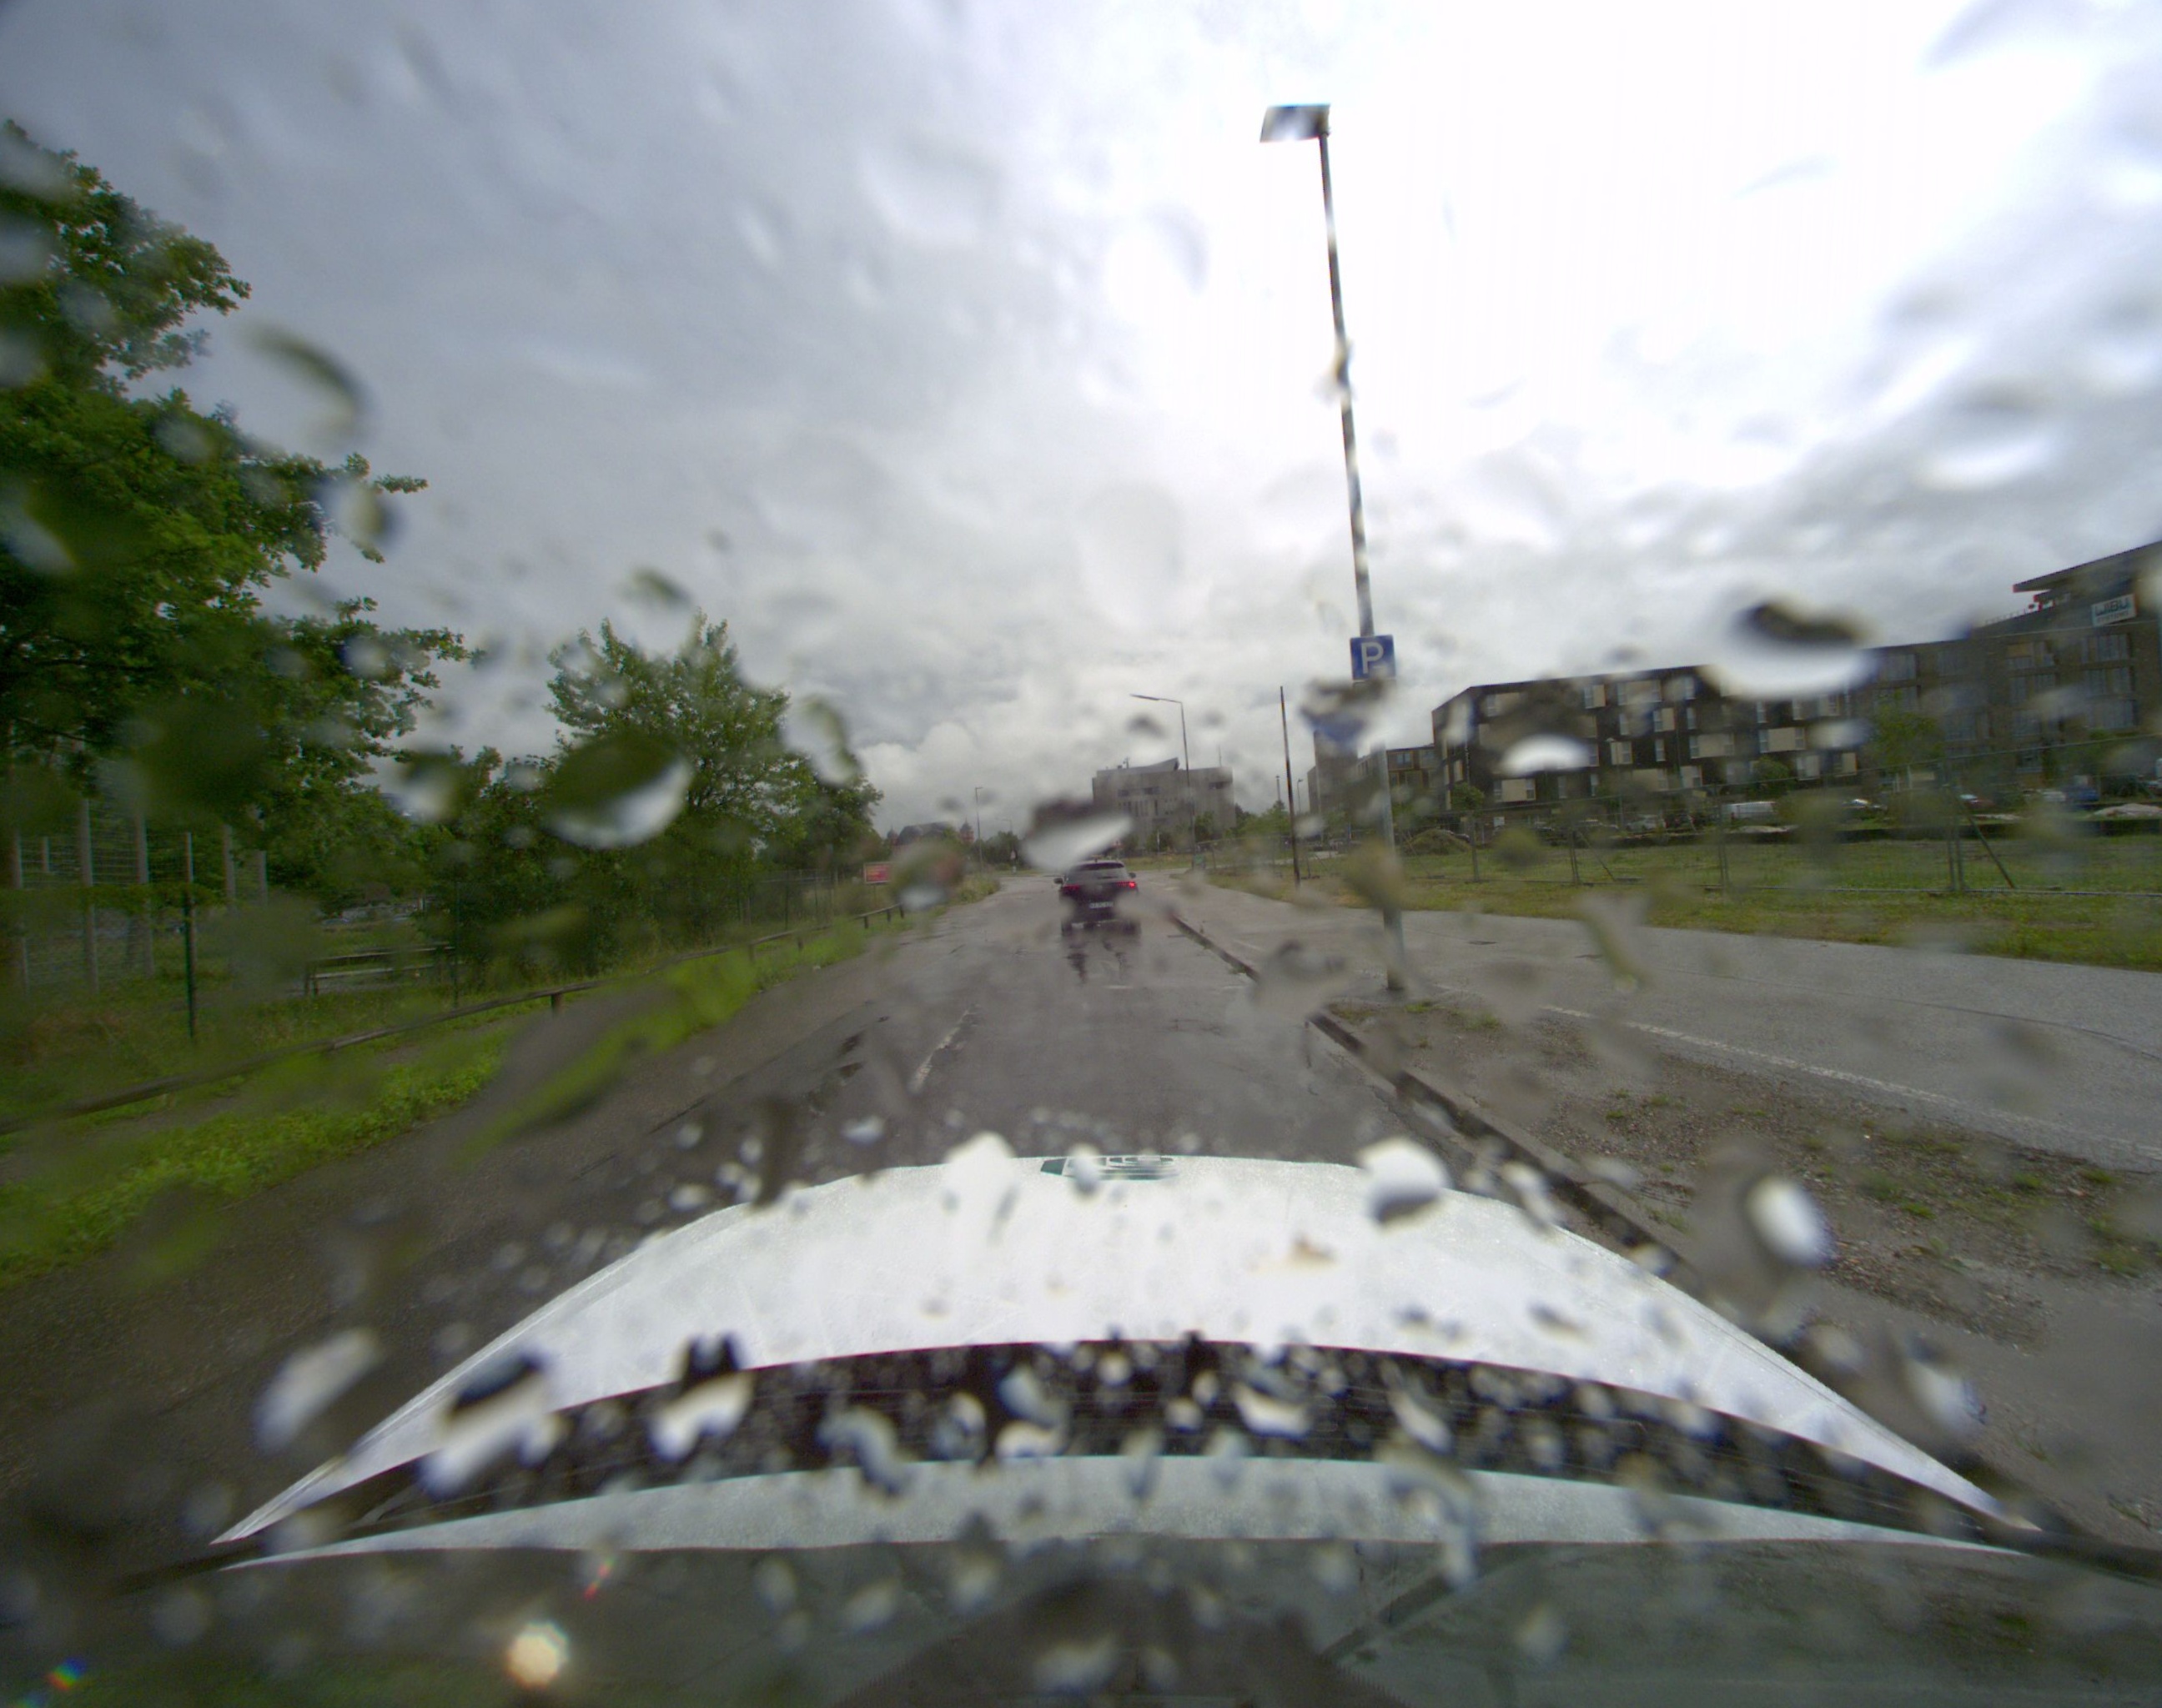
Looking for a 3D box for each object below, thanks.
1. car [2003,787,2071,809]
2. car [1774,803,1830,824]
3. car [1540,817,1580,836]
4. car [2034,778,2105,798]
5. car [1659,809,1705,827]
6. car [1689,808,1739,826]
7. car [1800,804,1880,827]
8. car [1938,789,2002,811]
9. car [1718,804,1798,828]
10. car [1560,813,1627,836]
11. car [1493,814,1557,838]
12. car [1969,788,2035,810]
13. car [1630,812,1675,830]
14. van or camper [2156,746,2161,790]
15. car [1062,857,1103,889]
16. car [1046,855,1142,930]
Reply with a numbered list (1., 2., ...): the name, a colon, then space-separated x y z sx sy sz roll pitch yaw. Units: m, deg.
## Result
1. car: 80.391 -4.666 68.539 1.535 1.615 3.851 -1 0 8
2. car: 62.687 -3.495 70.875 1.770 1.615 3.851 -1 0 8
3. car: 43.526 -2.495 74.087 1.770 1.528 3.851 -1 0 8
4. car: 82.919 -5.521 68.405 1.538 1.296 3.912 -1 0 8
5. car: 53.517 -3.186 72.607 1.629 1.396 3.790 -2 -1 8
6. car: 55.920 -3.282 71.984 1.770 1.395 3.851 -1 0 8
7. car: 57.499 -2.909 61.774 3.964 1.414 2.005 -4 0 8
8. car: 75.305 -4.553 69.045 1.535 1.615 3.851 -1 0 8
9. car: 51.896 -2.923 62.532 4.298 1.772 2.005 1 1 9
10. car: 40.265 -2.331 64.061 3.968 1.641 2.003 -1 0 4
11. car: 35.090 -2.215 64.484 3.968 1.728 2.003 -1 0 4
12. car: 77.764 -4.608 68.836 1.535 1.615 3.851 -1 0 8
13. car: 51.226 -2.931 73.033 1.753 1.395 3.816 -1 0 8
14. van or camper: 81.896 -6.332 57.895 6.739 3.201 2.536 -1 0 8
15. car: 0.026 0.988 43.547 1.838 1.442 3.995 -7 0 -3
16. car: 0.269 0.810 19.150 1.981 1.520 3.999 -1 0 0
